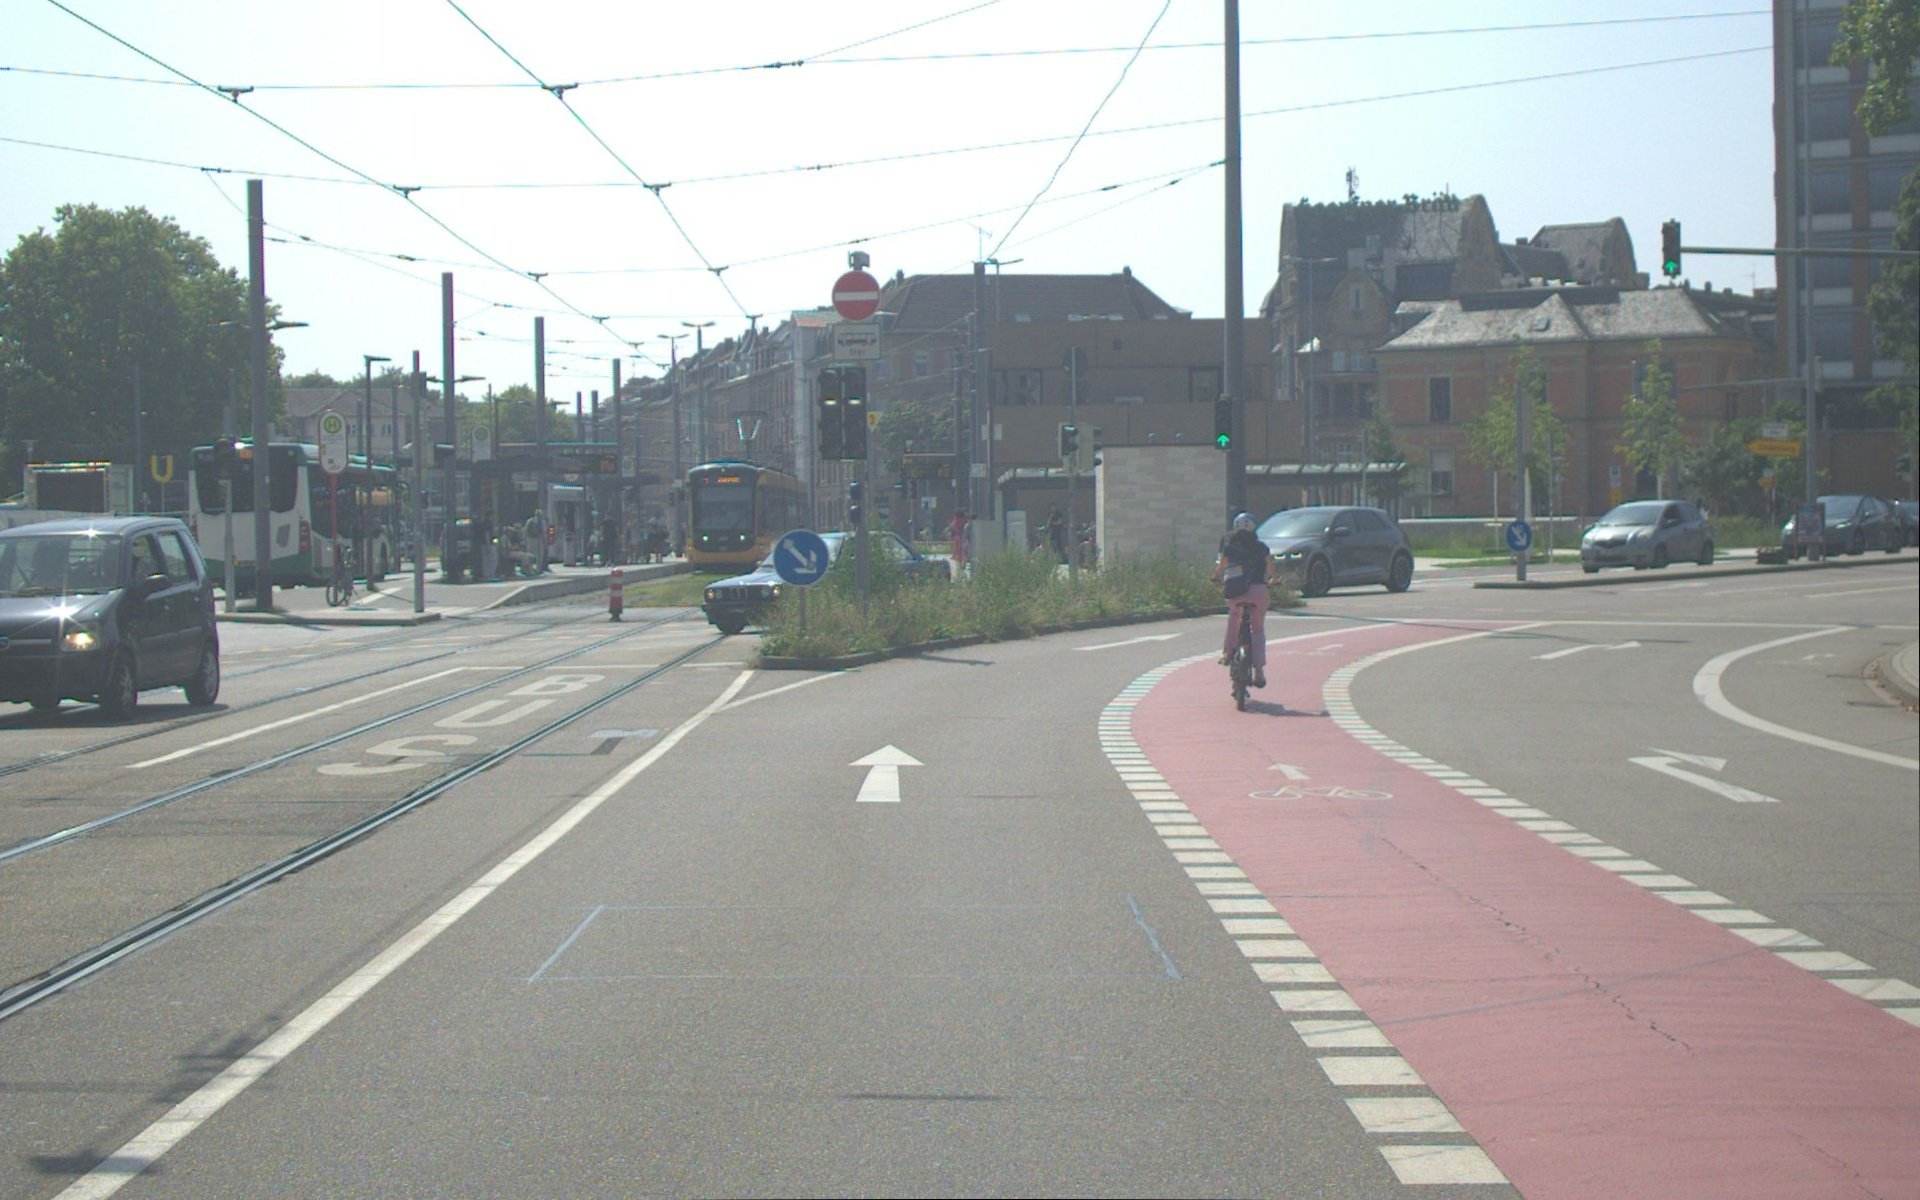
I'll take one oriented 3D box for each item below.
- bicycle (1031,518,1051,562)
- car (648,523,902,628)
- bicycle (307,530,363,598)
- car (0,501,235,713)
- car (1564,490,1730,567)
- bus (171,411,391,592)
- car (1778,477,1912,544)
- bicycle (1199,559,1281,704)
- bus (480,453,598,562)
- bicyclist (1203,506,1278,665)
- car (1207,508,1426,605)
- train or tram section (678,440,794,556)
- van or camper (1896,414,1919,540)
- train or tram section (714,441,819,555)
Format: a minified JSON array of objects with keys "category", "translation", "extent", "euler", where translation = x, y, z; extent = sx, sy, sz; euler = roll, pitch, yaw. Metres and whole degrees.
[{"category":"bicycle","translation":[1.937,-1.431,81.829],"extent":[0.464,1.029,1.548],"euler":[0,1,2]},{"category":"car","translation":[-2.578,-0.383,49.171],"extent":[1.690,1.373,4.612],"euler":[0,2,24]},{"category":"bicycle","translation":[-11.577,-0.681,63.704],"extent":[0.607,1.218,1.705],"euler":[-1,2,4]},{"category":"car","translation":[-7.313,0.011,28.609],"extent":[1.691,1.649,3.581],"euler":[0,1,2]},{"category":"car","translation":[14.509,-1.513,72.462],"extent":[1.654,1.525,4.316],"euler":[0,2,38]},{"category":"bus","translation":[-15.026,-2.197,76.985],"extent":[2.957,3.761,10.598],"euler":[0,1,-1]},{"category":"car","translation":[21.070,-2.147,81.739],"extent":[1.700,1.525,4.175],"euler":[0,2,35]},{"category":"bicycle","translation":[2.401,0.254,29.333],"extent":[0.604,1.159,1.810],"euler":[-1,2,7]},{"category":"bus","translation":[-14.903,-3.306,122.492],"extent":[2.709,3.714,10.419],"euler":[0,1,1]},{"category":"bicyclist","translation":[2.402,-0.131,29.386],"extent":[0.603,1.330,0.659],"euler":[-1,2,7]},{"category":"car","translation":[6.414,-0.806,61.454],"extent":[1.775,1.605,4.664],"euler":[0,2,36]},{"category":"train or tram section","translation":[-7.250,-3.352,113.795],"extent":[2.856,3.536,17.744],"euler":[0,2,-1]},{"category":"van or camper","translation":[27.556,-3.331,92.260],"extent":[2.404,3.295,7.176],"euler":[0,2,35]},{"category":"train or tram section","translation":[-7.294,-3.894,132.233],"extent":[2.886,4.054,19.143],"euler":[0,2,0]}]
